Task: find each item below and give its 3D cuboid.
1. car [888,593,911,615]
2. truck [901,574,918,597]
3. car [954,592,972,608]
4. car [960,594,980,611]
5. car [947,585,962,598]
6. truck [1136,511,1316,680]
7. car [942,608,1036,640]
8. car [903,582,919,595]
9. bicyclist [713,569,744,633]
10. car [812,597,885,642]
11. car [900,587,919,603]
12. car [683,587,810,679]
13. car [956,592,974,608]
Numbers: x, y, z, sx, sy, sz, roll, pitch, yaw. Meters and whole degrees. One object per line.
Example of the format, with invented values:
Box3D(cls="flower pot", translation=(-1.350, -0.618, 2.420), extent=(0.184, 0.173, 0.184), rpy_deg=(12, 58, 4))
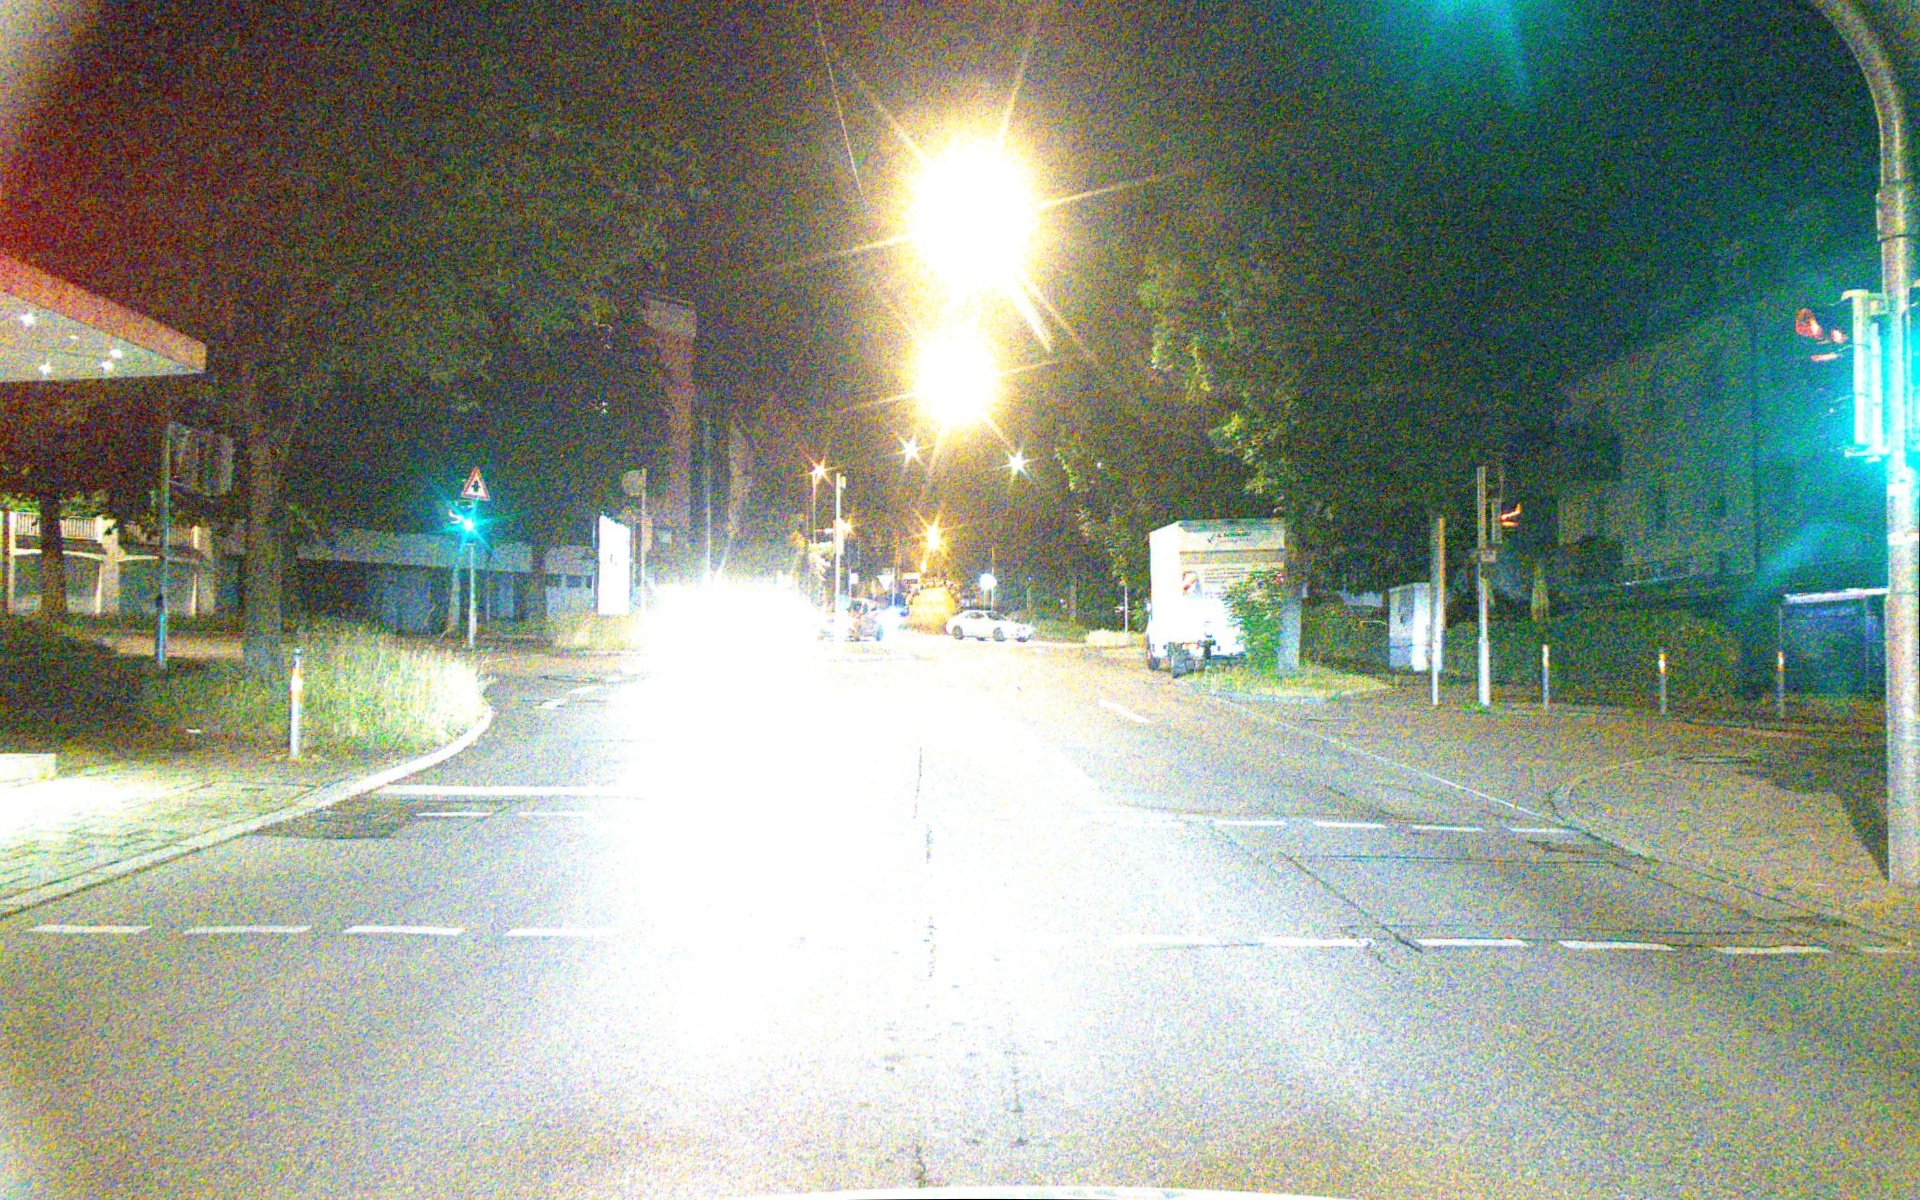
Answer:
Box3D(cls="car", translation=(-4.893, 0.301, 134.432), extent=(1.778, 1.713, 3.999), rpy_deg=(1, 0, -1))
Box3D(cls="truck", translation=(-6.431, -1.809, 209.574), extent=(2.044, 2.897, 5.828), rpy_deg=(1, 0, -2))
Box3D(cls="car", translation=(0.264, 0.020, 159.347), extent=(1.601, 1.477, 3.484), rpy_deg=(1, 0, -1))
Box3D(cls="car", translation=(0.881, 0.219, 143.436), extent=(1.601, 1.477, 3.484), rpy_deg=(1, 0, -1))
Box3D(cls="car", translation=(-0.645, -0.989, 191.549), extent=(1.601, 1.477, 3.484), rpy_deg=(1, 0, -1))
Box3D(cls="truck", translation=(5.408, -0.092, 34.665), extent=(2.693, 3.165, 6.258), rpy_deg=(1, 0, 0))
Box3D(cls="car", translation=(1.370, 1.125, 78.859), extent=(1.907, 1.413, 4.511), rpy_deg=(1, 0, -43))
Box3D(cls="car", translation=(-5.529, -1.297, 186.950), extent=(1.779, 1.517, 3.998), rpy_deg=(1, 0, -2))
Box3D(cls="bicyclist", translation=(-6.086, 0.028, 43.561), extent=(0.676, 1.666, 0.896), rpy_deg=(1, -1, -1))
Box3D(cls="car", translation=(-3.892, 0.666, 58.262), extent=(1.548, 1.528, 3.398), rpy_deg=(1, 0, 15))
Box3D(cls="car", translation=(-4.874, -0.516, 160.566), extent=(1.779, 1.517, 3.998), rpy_deg=(1, 0, -2))
Box3D(cls="car", translation=(-3.876, 0.568, 30.600), extent=(1.819, 1.561, 4.027), rpy_deg=(1, 0, 0))
Box3D(cls="car", translation=(0.419, -0.013, 153.165), extent=(1.601, 1.477, 3.484), rpy_deg=(1, 0, -1))
